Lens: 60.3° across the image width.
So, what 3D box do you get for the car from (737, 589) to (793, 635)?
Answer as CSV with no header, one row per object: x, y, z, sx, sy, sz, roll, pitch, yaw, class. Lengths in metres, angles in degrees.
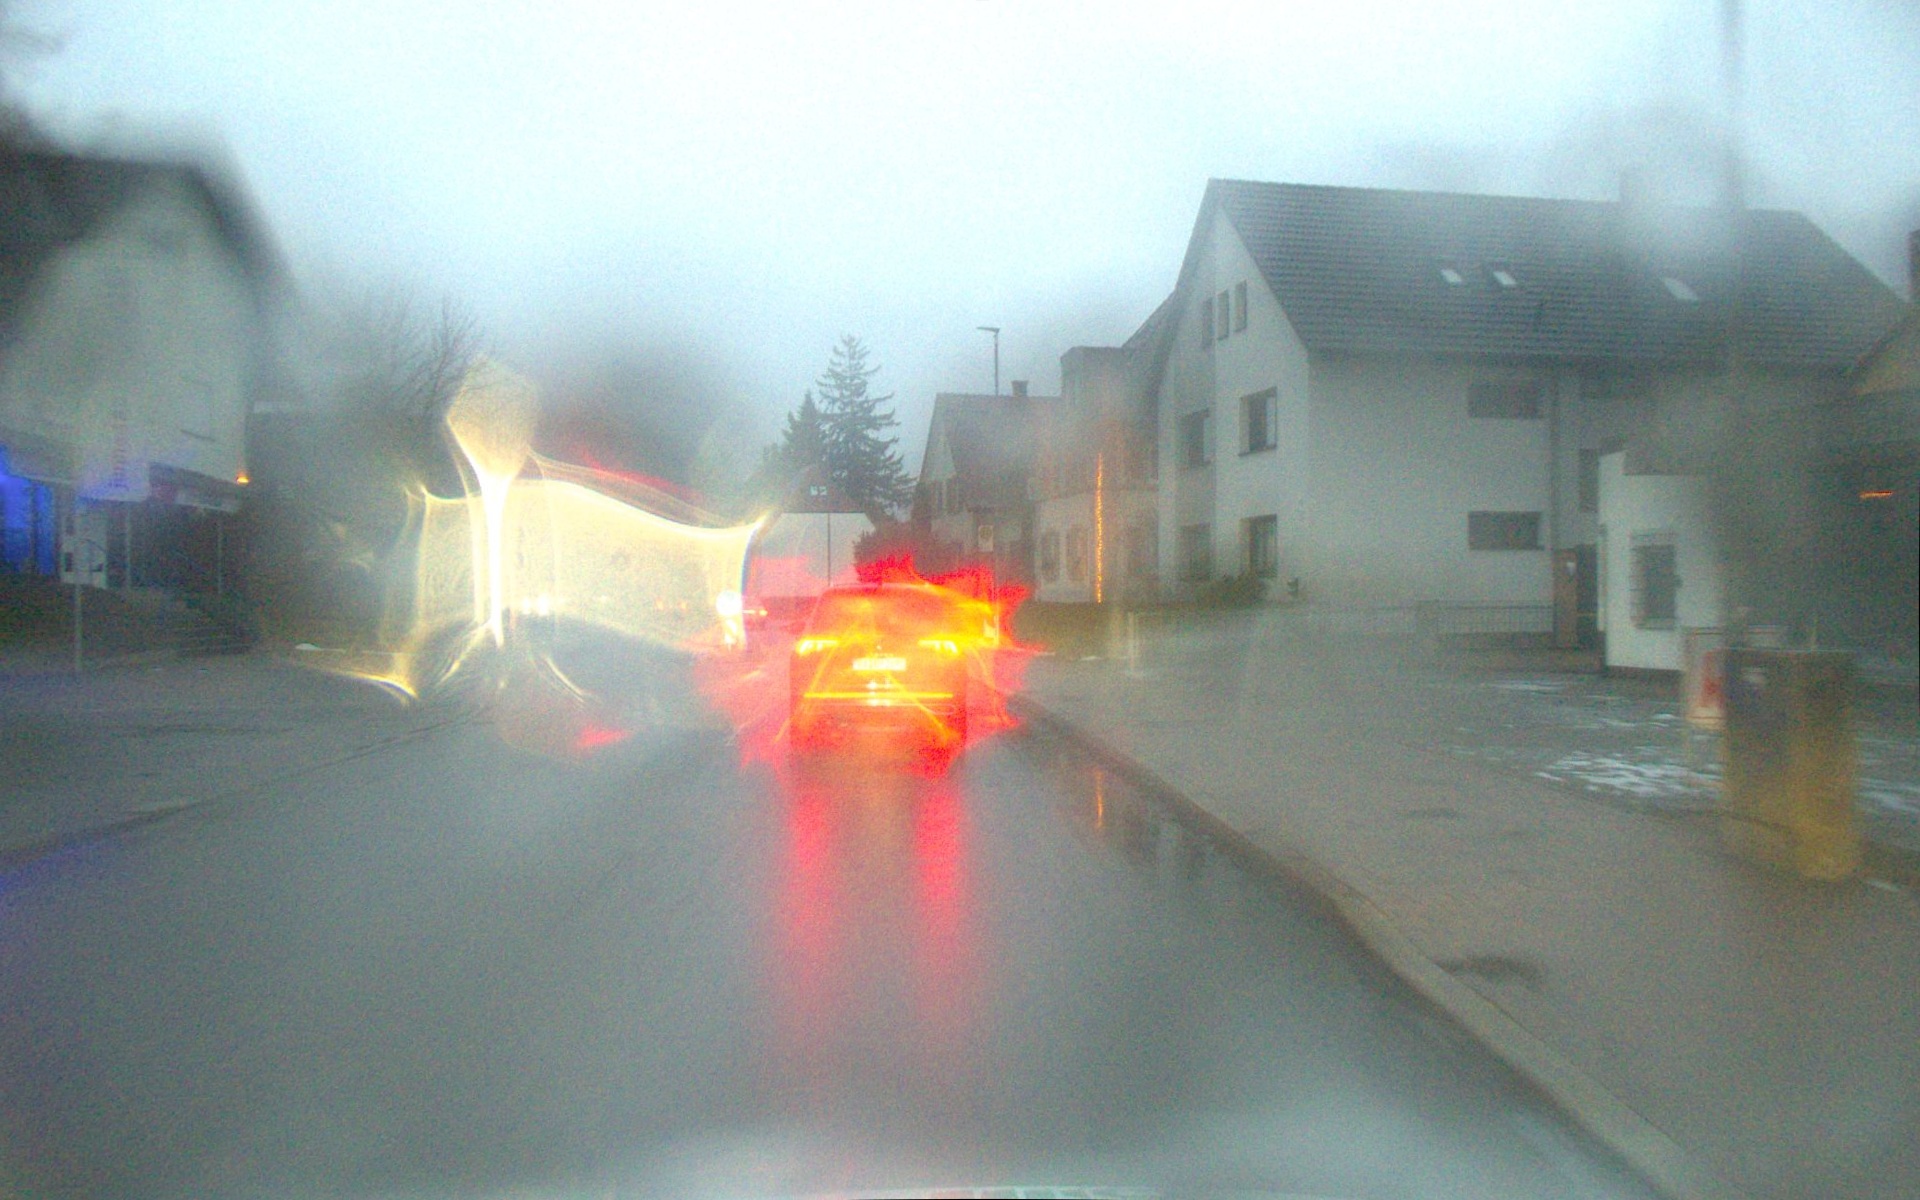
-8.834,0.541,74.536,2.267,1.972,5.006,-1,0,-10,car

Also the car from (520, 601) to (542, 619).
-39.496,0.879,152.279,1.794,1.581,3.982,-2,0,-17,car

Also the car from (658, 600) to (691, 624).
-17.227,0.724,99.849,1.810,1.355,3.926,-1,0,-12,car

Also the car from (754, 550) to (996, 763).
-0.906,0.546,18.100,2.263,1.972,5.015,-1,0,-3,car
